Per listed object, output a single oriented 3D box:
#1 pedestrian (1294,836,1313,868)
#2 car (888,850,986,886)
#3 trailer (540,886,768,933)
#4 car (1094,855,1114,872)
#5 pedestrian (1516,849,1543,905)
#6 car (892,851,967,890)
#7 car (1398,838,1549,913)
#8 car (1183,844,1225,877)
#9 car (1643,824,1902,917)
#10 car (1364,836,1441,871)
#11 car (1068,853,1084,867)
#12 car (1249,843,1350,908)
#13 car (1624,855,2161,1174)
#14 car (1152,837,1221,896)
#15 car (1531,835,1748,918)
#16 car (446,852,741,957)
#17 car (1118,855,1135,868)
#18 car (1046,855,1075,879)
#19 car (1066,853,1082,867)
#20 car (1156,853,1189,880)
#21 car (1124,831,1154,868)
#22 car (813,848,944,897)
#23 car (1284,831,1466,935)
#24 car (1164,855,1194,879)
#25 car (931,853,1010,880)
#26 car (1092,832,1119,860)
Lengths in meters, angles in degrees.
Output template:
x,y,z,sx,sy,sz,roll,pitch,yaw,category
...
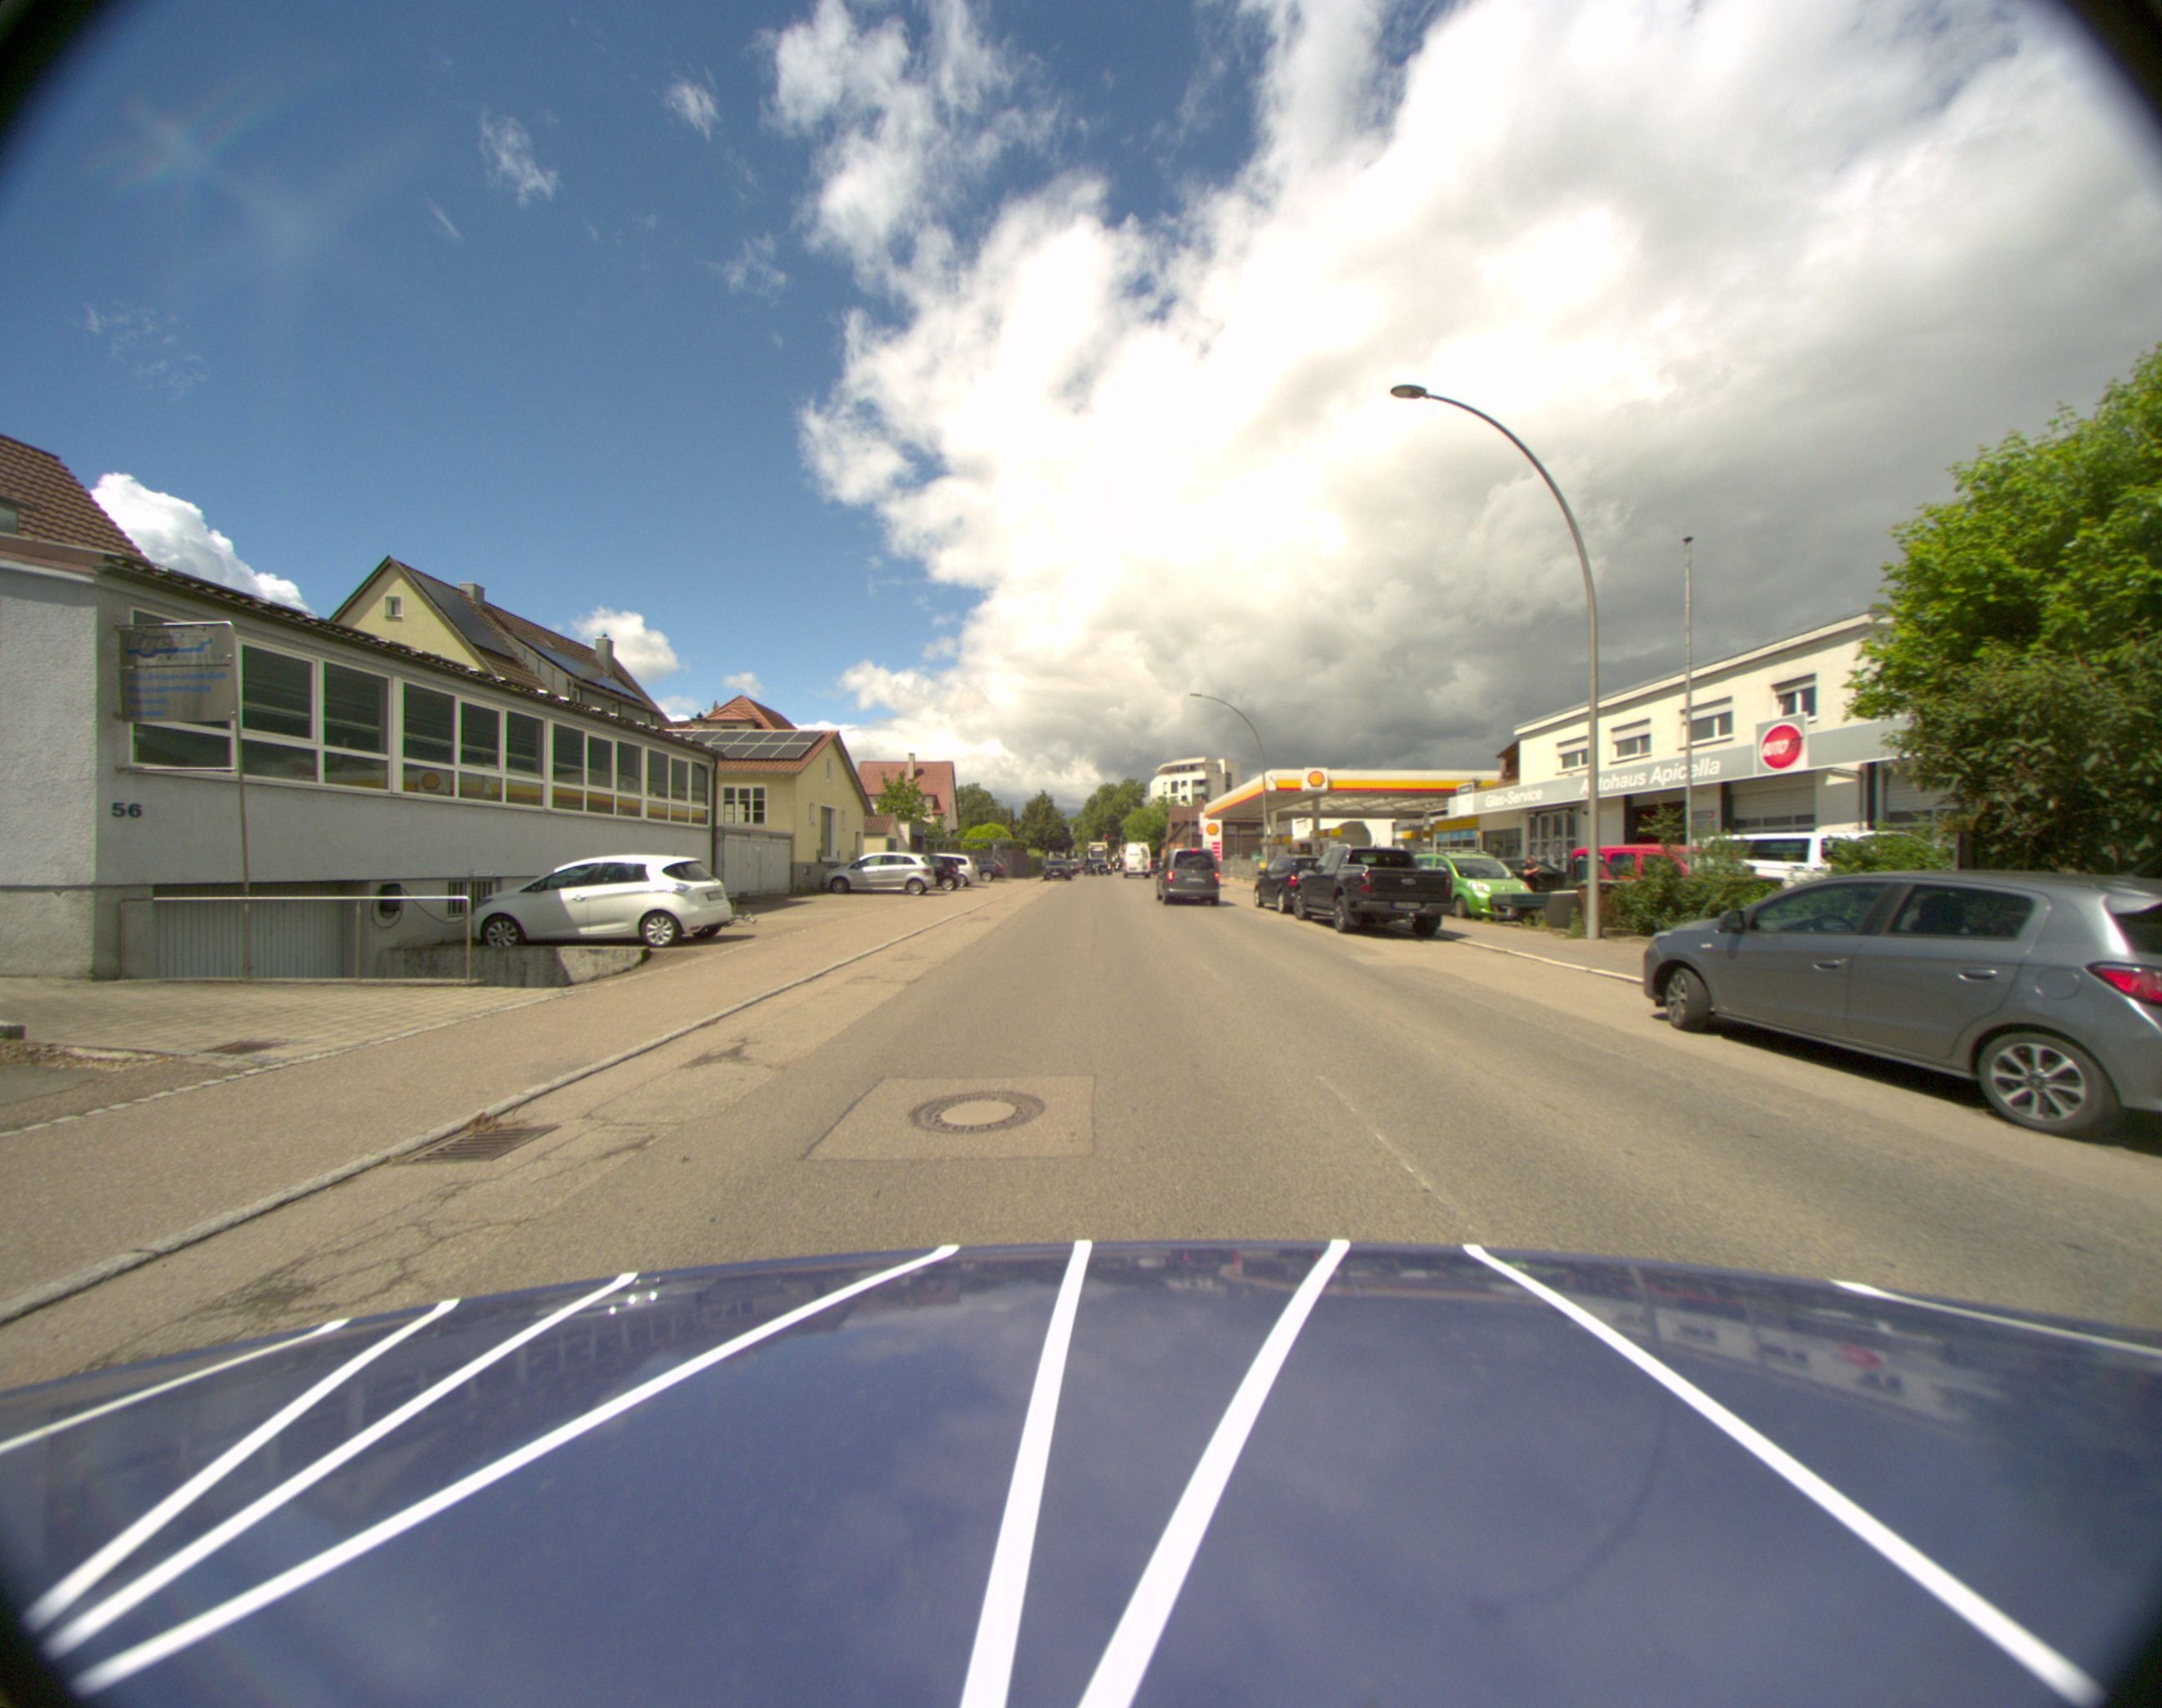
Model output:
x,y,z,sx,sy,sz,roll,pitch,yaw,category
15.121,-0.125,51.722,0.940,2.166,1.011,-2,1,0,pedestrian
-7.030,0.657,37.501,4.419,1.516,1.974,3,0,-2,car
-8.799,1.137,15.891,3.826,0.803,1.656,1,0,0,trailer
2.197,0.906,72.428,1.789,1.555,3.879,-1,0,1,car
12.643,0.651,21.431,0.413,1.549,0.493,-2,1,0,pedestrian
-6.698,0.705,33.803,2.895,1.516,1.974,3,0,-2,car
10.239,0.500,20.236,1.797,1.775,4.338,-1,0,0,car
6.959,0.349,43.368,1.733,1.727,4.190,4,0,1,car
16.492,0.304,18.480,1.883,1.969,4.332,-2,2,-13,car
18.133,-0.045,42.714,4.993,1.842,1.970,-1,1,-40,car
-0.568,0.718,92.927,1.789,1.555,3.879,-1,0,1,car
6.219,0.562,22.182,1.667,1.670,4.526,2,0,1,car
6.049,0.812,5.305,1.667,1.502,3.944,3,0,1,car
3.449,0.378,25.469,1.667,1.785,4.338,1,0,0,car
13.704,0.462,19.035,1.798,1.775,4.334,-3,1,-9,car
-8.258,0.814,13.132,3.909,1.599,1.749,-2,0,0,car
5.338,0.867,89.849,1.852,1.465,3.981,1,0,1,car
-1.406,0.915,53.953,1.789,1.548,4.317,-1,0,2,car
-0.791,0.668,87.453,1.789,1.555,3.879,-1,0,1,car
7.021,0.918,58.628,1.789,1.857,4.315,4,0,-2,car
4.573,-0.333,60.741,1.997,2.749,6.164,1,0,1,car
-7.681,0.670,29.162,4.419,1.599,1.974,3,0,-2,car
6.197,0.530,16.876,1.915,1.811,5.429,4,0,1,car
6.961,0.896,54.111,1.666,1.506,3.945,4,0,2,car
-6.585,0.735,45.549,4.419,1.399,1.974,3,0,-2,car
3.185,-1.082,102.959,3.262,3.596,10.268,-1,0,0,car
